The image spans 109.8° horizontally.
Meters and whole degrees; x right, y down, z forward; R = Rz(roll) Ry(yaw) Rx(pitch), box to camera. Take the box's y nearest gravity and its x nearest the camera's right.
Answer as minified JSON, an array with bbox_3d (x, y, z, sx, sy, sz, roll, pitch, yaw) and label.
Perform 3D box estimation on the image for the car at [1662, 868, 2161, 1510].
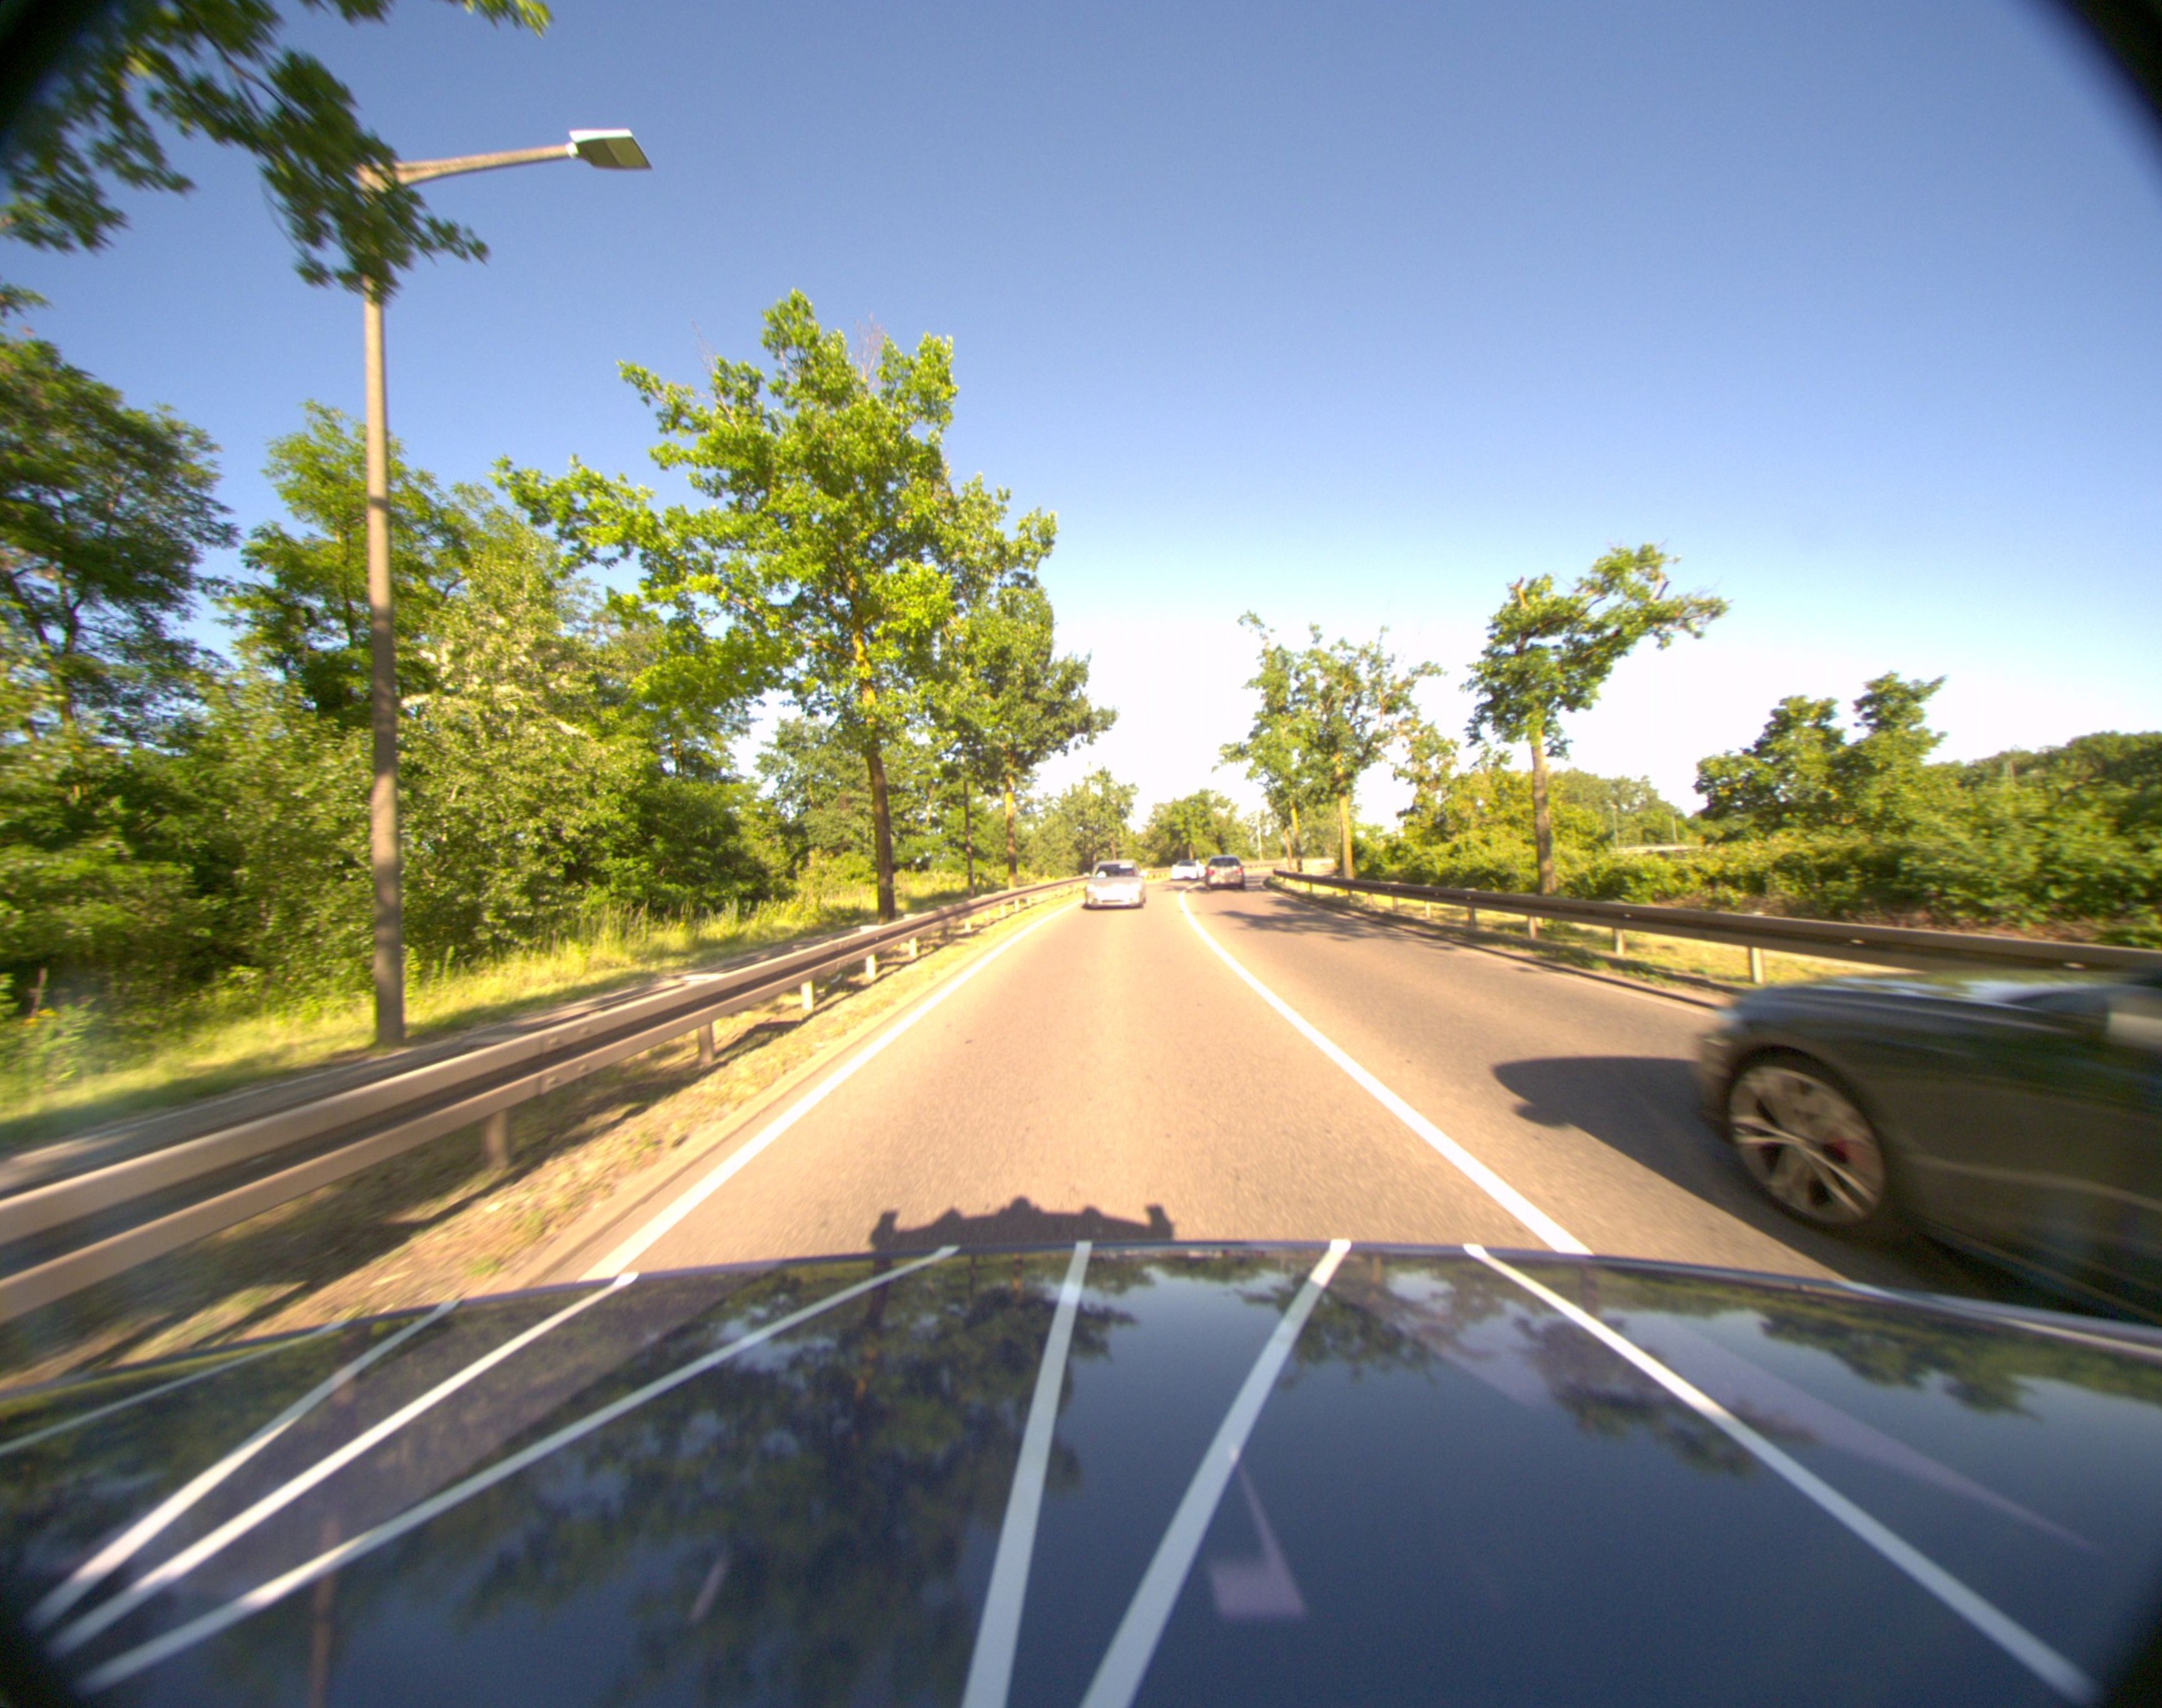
[{"bbox_3d":[3.562,0.843,1.082,1.854,1.483,4.716,-2,0,1],"label":"car"}]

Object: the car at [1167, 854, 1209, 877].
[{"bbox_3d":[7.761,0.815,54.878,2.146,1.558,4.204,-1,0,21],"label":"car"}]

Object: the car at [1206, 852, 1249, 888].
[{"bbox_3d":[6.753,0.700,35.408,1.812,1.545,4.143,-1,0,9],"label":"car"}]

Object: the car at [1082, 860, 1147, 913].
[{"bbox_3d":[0.953,0.945,23.591,1.683,1.433,3.858,-2,0,-2],"label":"car"}]
